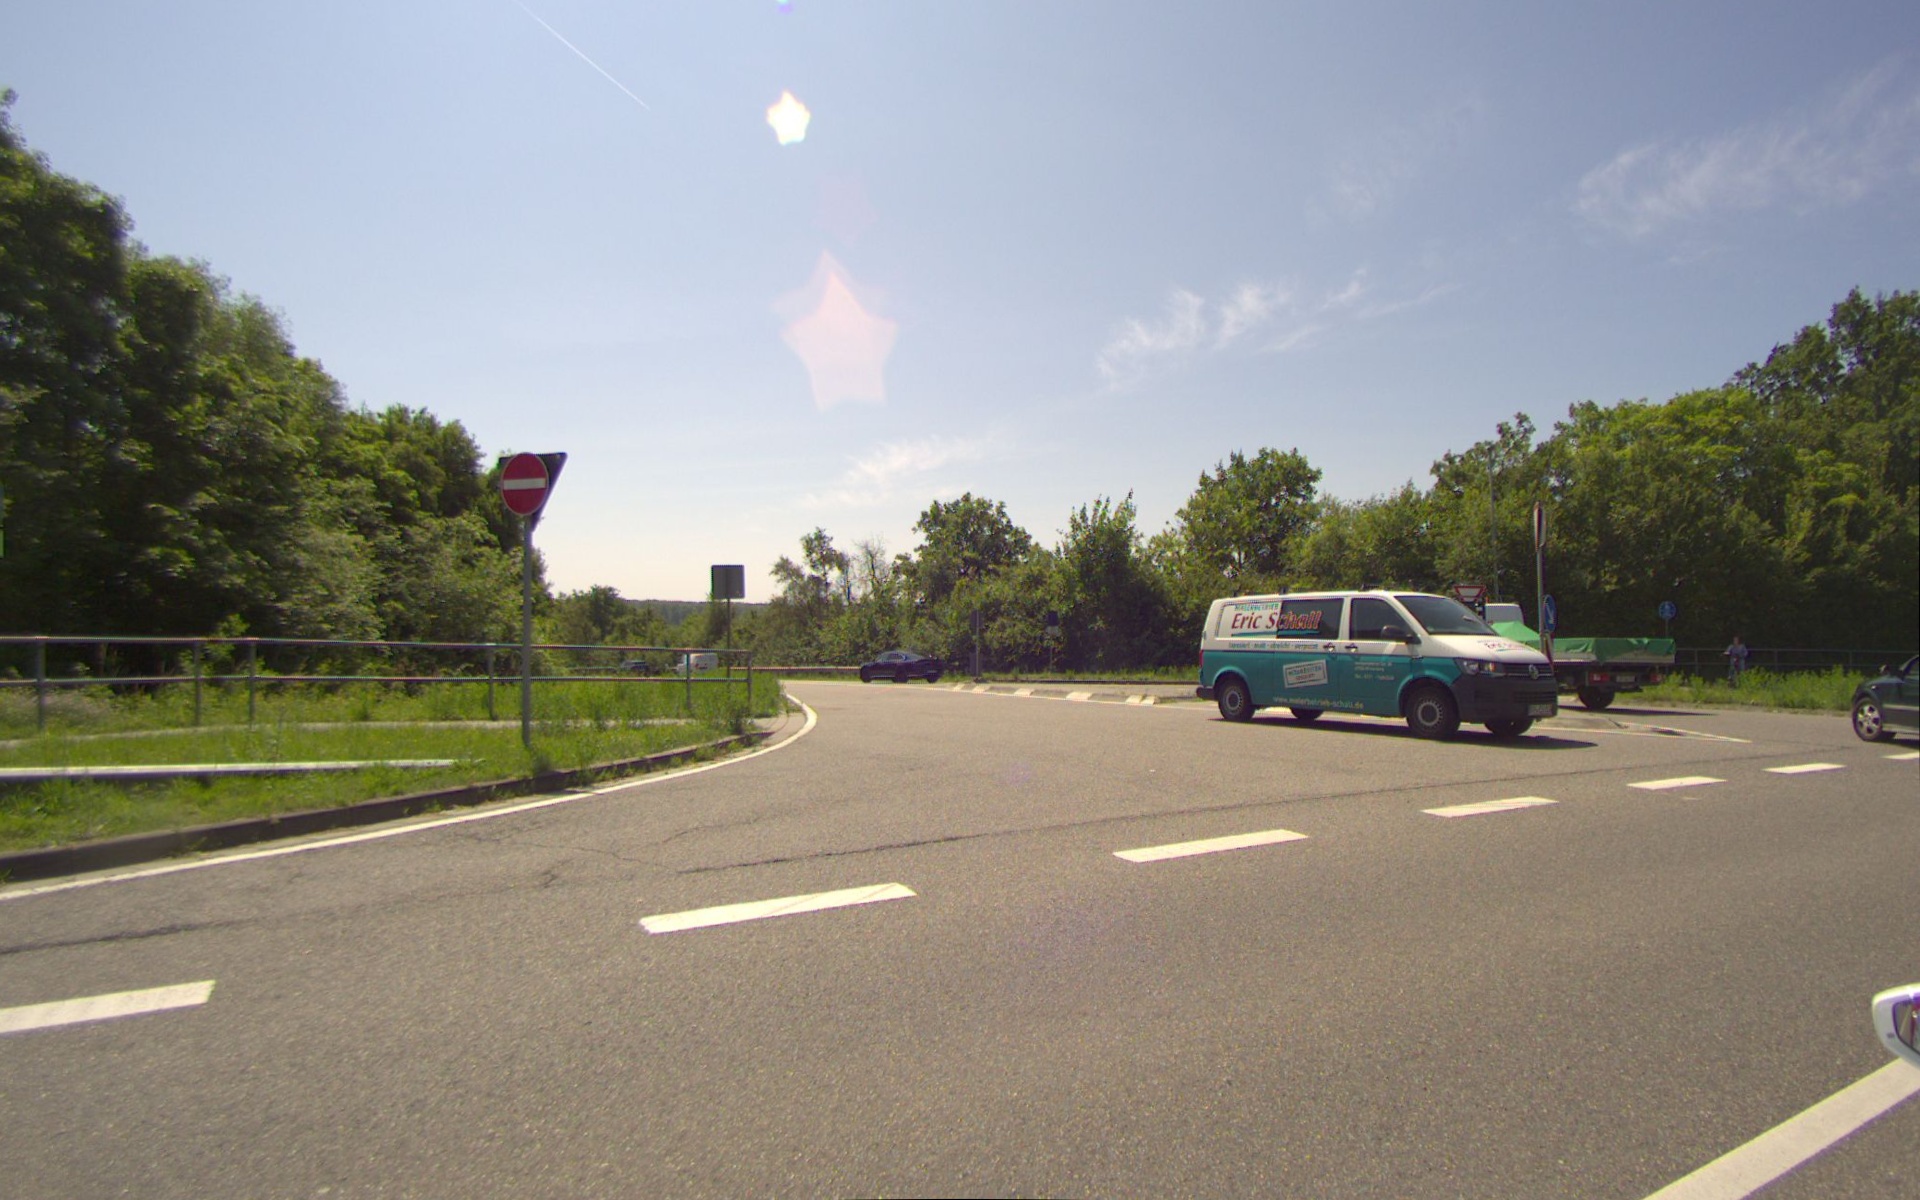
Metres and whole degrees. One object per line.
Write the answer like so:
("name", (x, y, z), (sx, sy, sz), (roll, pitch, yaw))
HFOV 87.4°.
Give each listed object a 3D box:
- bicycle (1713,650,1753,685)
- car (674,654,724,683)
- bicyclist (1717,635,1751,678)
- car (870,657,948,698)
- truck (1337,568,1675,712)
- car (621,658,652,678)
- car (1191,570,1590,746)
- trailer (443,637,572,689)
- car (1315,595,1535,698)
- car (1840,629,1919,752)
("bicycle", (25.437, 2.221, 33.055), (1.462, 1.128, 0.434), (1, -1, -26))
("car", (-19.243, 5.051, 73.865), (1.996, 1.948, 5.148), (1, -5, -34))
("bicyclist", (25.463, 1.856, 33.055), (0.601, 1.381, 0.685), (1, 0, -27))
("car", (-2.286, 3.409, 43.949), (1.660, 1.683, 3.965), (1, -5, -33))
("truck", (11.282, 0.918, 21.607), (2.114, 2.598, 6.609), (2, -3, -20))
("car", (-27.436, 5.745, 85.217), (1.749, 1.617, 3.898), (1, -3, -30))
("car", (5.857, 0.790, 14.489), (1.976, 2.054, 5.148), (1, -3, -30))
("trailer", (-44.071, 6.016, 97.651), (13.525, 4.333, 2.997), (1, 0, 23))
("car", (14.270, 1.389, 31.247), (5.890, 2.888, 2.113), (1, 0, 15))
("car", (12.381, 1.102, 11.794), (1.691, 1.476, 3.798), (1, -1, 18))
